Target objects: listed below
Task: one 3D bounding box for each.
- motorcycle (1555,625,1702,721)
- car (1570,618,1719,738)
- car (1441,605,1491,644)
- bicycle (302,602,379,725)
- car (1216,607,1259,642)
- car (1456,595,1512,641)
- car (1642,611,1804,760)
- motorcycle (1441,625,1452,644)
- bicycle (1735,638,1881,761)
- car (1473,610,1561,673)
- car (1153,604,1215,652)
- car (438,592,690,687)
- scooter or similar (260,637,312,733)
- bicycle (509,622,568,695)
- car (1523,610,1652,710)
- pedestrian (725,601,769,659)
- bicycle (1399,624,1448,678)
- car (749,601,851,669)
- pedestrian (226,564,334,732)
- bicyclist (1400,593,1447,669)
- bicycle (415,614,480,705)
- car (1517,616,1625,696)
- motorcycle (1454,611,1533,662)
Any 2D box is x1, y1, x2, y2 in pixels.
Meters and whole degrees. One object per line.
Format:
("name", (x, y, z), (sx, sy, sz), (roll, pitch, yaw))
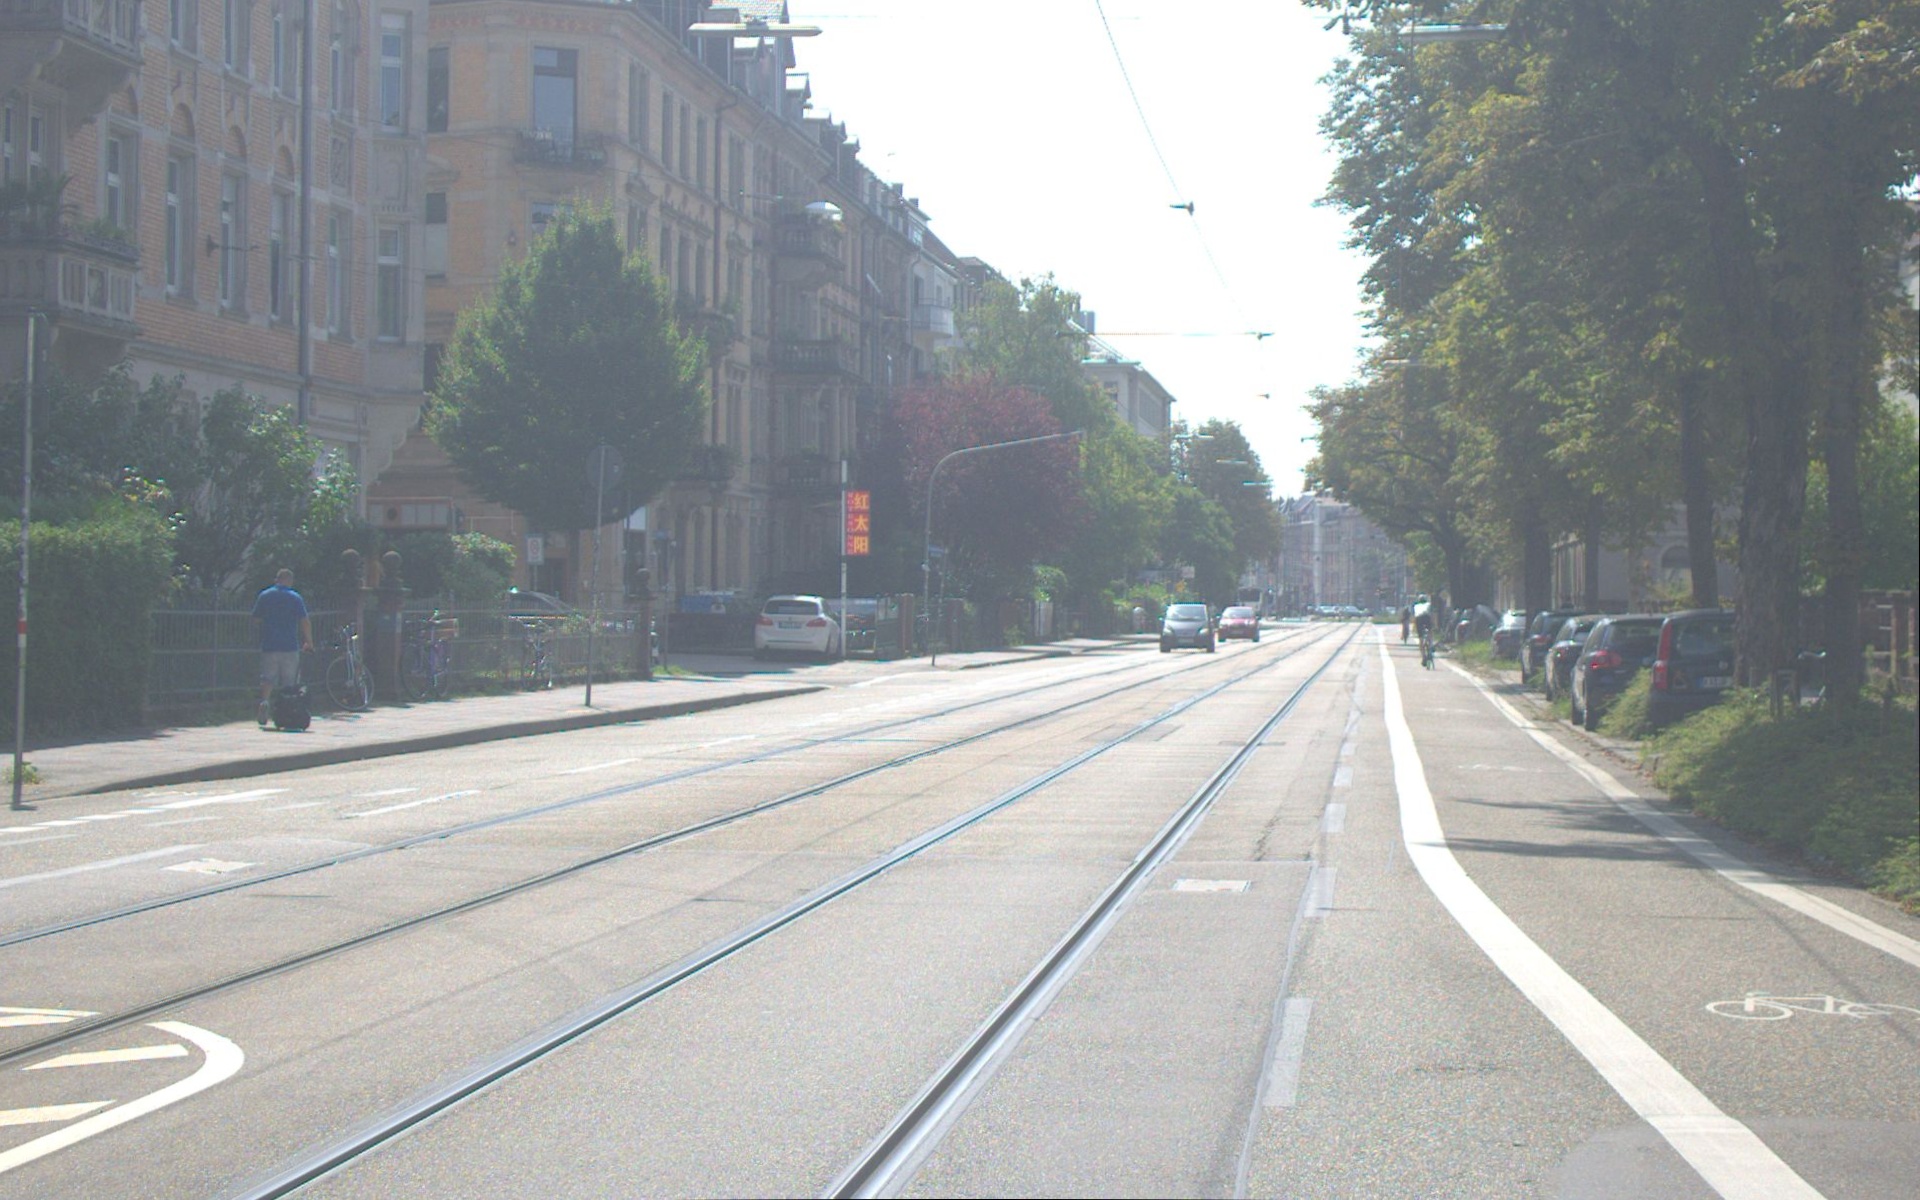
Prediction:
("motorcycle", (9.665, 1.053, 49.767), (2.004, 1.363, 0.782), (0, 0, 5))
("car", (8.949, 0.993, 45.167), (1.617, 1.472, 4.037), (-1, 0, 7))
("car", (20.515, 0.995, 139.370), (1.841, 1.527, 4.778), (-1, 0, 7))
("bicycle", (-7.239, 0.730, 40.212), (0.390, 1.401, 1.581), (1, 0, 8))
("car", (12.033, 1.059, 148.785), (1.732, 1.485, 3.999), (0, 0, 7))
("car", (18.732, 0.630, 122.940), (1.841, 1.527, 4.114), (0, 1, 7))
("car", (8.279, 0.895, 37.159), (1.618, 1.525, 3.496), (-1, 0, 14))
("motorcycle", (27.177, 1.933, 192.008), (0.549, 1.064, 2.329), (1, -1, 7))
("bicycle", (7.739, 0.901, 31.365), (1.388, 1.105, 0.389), (1, 0, -28))
("car", (13.586, 1.000, 84.063), (1.893, 1.472, 4.839), (0, 0, 7))
("car", (7.345, 0.887, 112.248), (1.827, 1.535, 3.999), (0, 0, 7))
("car", (-7.094, 0.700, 61.767), (4.103, 1.589, 1.878), (1, 0, 9))
("scooter or similar", (-7.035, 0.879, 35.871), (0.400, 0.979, 0.584), (2, 0, -1))
("bicycle", (-6.164, 0.852, 50.367), (0.390, 1.035, 1.832), (1, 0, 8))
("car", (10.173, 0.969, 55.974), (1.756, 1.472, 4.456), (-3, -1, 7))
("pedestrian", (-5.582, 0.776, 90.156), (0.883, 1.506, 0.870), (1, 0, -24))
("bicycle", (11.338, 1.237, 84.077), (1.148, 1.265, 2.711), (0, 0, 9))
("car", (-3.835, 0.838, 83.181), (1.994, 1.589, 4.359), (0, 0, 4))
("pedestrian", (-7.217, 0.506, 36.521), (0.883, 1.750, 0.870), (1, 0, 7))
("bicyclist", (11.329, 0.765, 84.010), (1.125, 1.831, 0.955), (1, -1, 8))
("bicycle", (-6.649, 0.759, 44.619), (0.390, 1.144, 1.581), (1, 0, 8))
("car", (11.735, 1.051, 66.262), (1.756, 1.472, 4.385), (0, 0, 6))
("motorcycle", (16.650, 1.153, 107.368), (0.966, 1.535, 2.345), (1, -3, -41))
